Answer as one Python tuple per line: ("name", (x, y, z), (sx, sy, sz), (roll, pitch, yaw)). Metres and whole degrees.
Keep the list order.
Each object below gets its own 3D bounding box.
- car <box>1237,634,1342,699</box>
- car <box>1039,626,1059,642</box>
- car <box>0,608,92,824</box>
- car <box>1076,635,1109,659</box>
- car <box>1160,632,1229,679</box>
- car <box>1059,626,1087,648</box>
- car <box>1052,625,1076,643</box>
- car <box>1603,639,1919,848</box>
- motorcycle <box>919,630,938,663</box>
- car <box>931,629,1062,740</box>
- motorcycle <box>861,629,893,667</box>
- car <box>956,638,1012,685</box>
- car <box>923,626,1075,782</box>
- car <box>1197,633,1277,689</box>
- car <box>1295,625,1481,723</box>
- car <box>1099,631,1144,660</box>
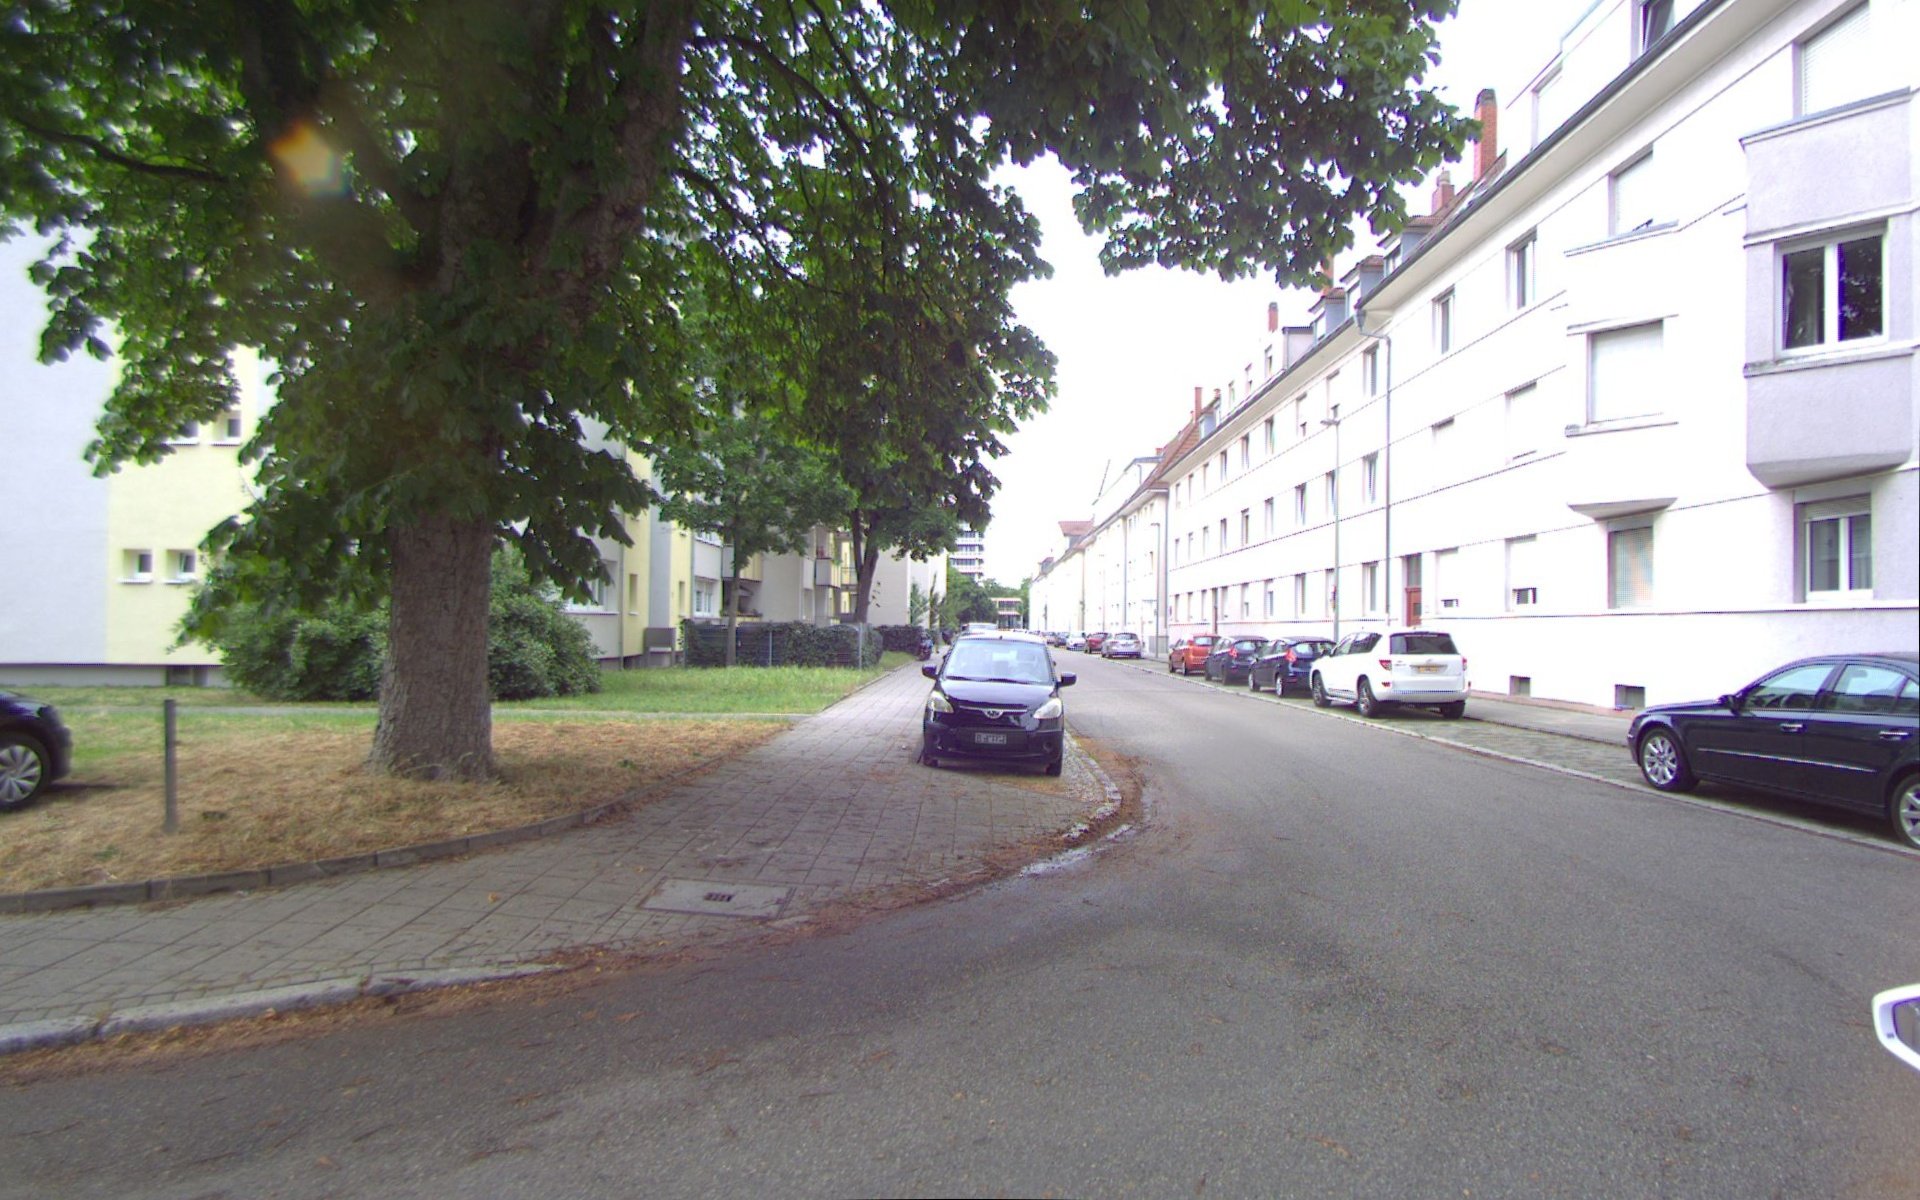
("car", (8.265, 1.622, 25.492), (1.541, 1.498, 3.872), (0, -1, 2))
("car", (9.404, 3.596, 106.227), (1.789, 1.598, 3.885), (1, -1, 1))
("car", (-8.075, 0.827, 6.284), (1.794, 1.598, 3.844), (0, -1, 4))
("car", (8.604, 3.024, 65.612), (1.642, 1.439, 4.001), (-1, -1, 0))
("car", (8.399, 1.969, 36.216), (1.668, 1.545, 3.827), (-1, -1, 1))
("car", (8.654, 2.824, 77.130), (1.789, 1.524, 3.753), (1, -1, 1))
("car", (9.217, 3.008, 89.483), (1.789, 1.598, 3.753), (1, -1, 1))
("car", (7.856, 1.106, 8.454), (1.716, 1.439, 4.950), (0, -1, 0))
("motorcycle", (-1.411, 2.066, 44.986), (0.666, 1.374, 2.230), (3, -1, 1))
("car", (0.621, 1.308, 17.129), (1.836, 1.484, 4.836), (3, -1, 2))
("motorcycle", (-2.874, 1.649, 34.988), (0.669, 1.239, 3.068), (2, -1, 3))
("car", (0.775, 1.945, 32.493), (1.668, 1.275, 4.016), (2, -1, 1))
("car", (0.527, 1.120, 12.168), (1.499, 1.513, 3.593), (3, -1, 4))
("car", (8.429, 1.823, 30.856), (1.541, 1.493, 3.697), (-2, -1, 2))
("car", (8.311, 1.366, 19.979), (1.812, 1.696, 4.289), (-1, -1, -1))
("car", (8.851, 2.475, 55.281), (1.726, 1.487, 4.601), (1, -1, 0))
